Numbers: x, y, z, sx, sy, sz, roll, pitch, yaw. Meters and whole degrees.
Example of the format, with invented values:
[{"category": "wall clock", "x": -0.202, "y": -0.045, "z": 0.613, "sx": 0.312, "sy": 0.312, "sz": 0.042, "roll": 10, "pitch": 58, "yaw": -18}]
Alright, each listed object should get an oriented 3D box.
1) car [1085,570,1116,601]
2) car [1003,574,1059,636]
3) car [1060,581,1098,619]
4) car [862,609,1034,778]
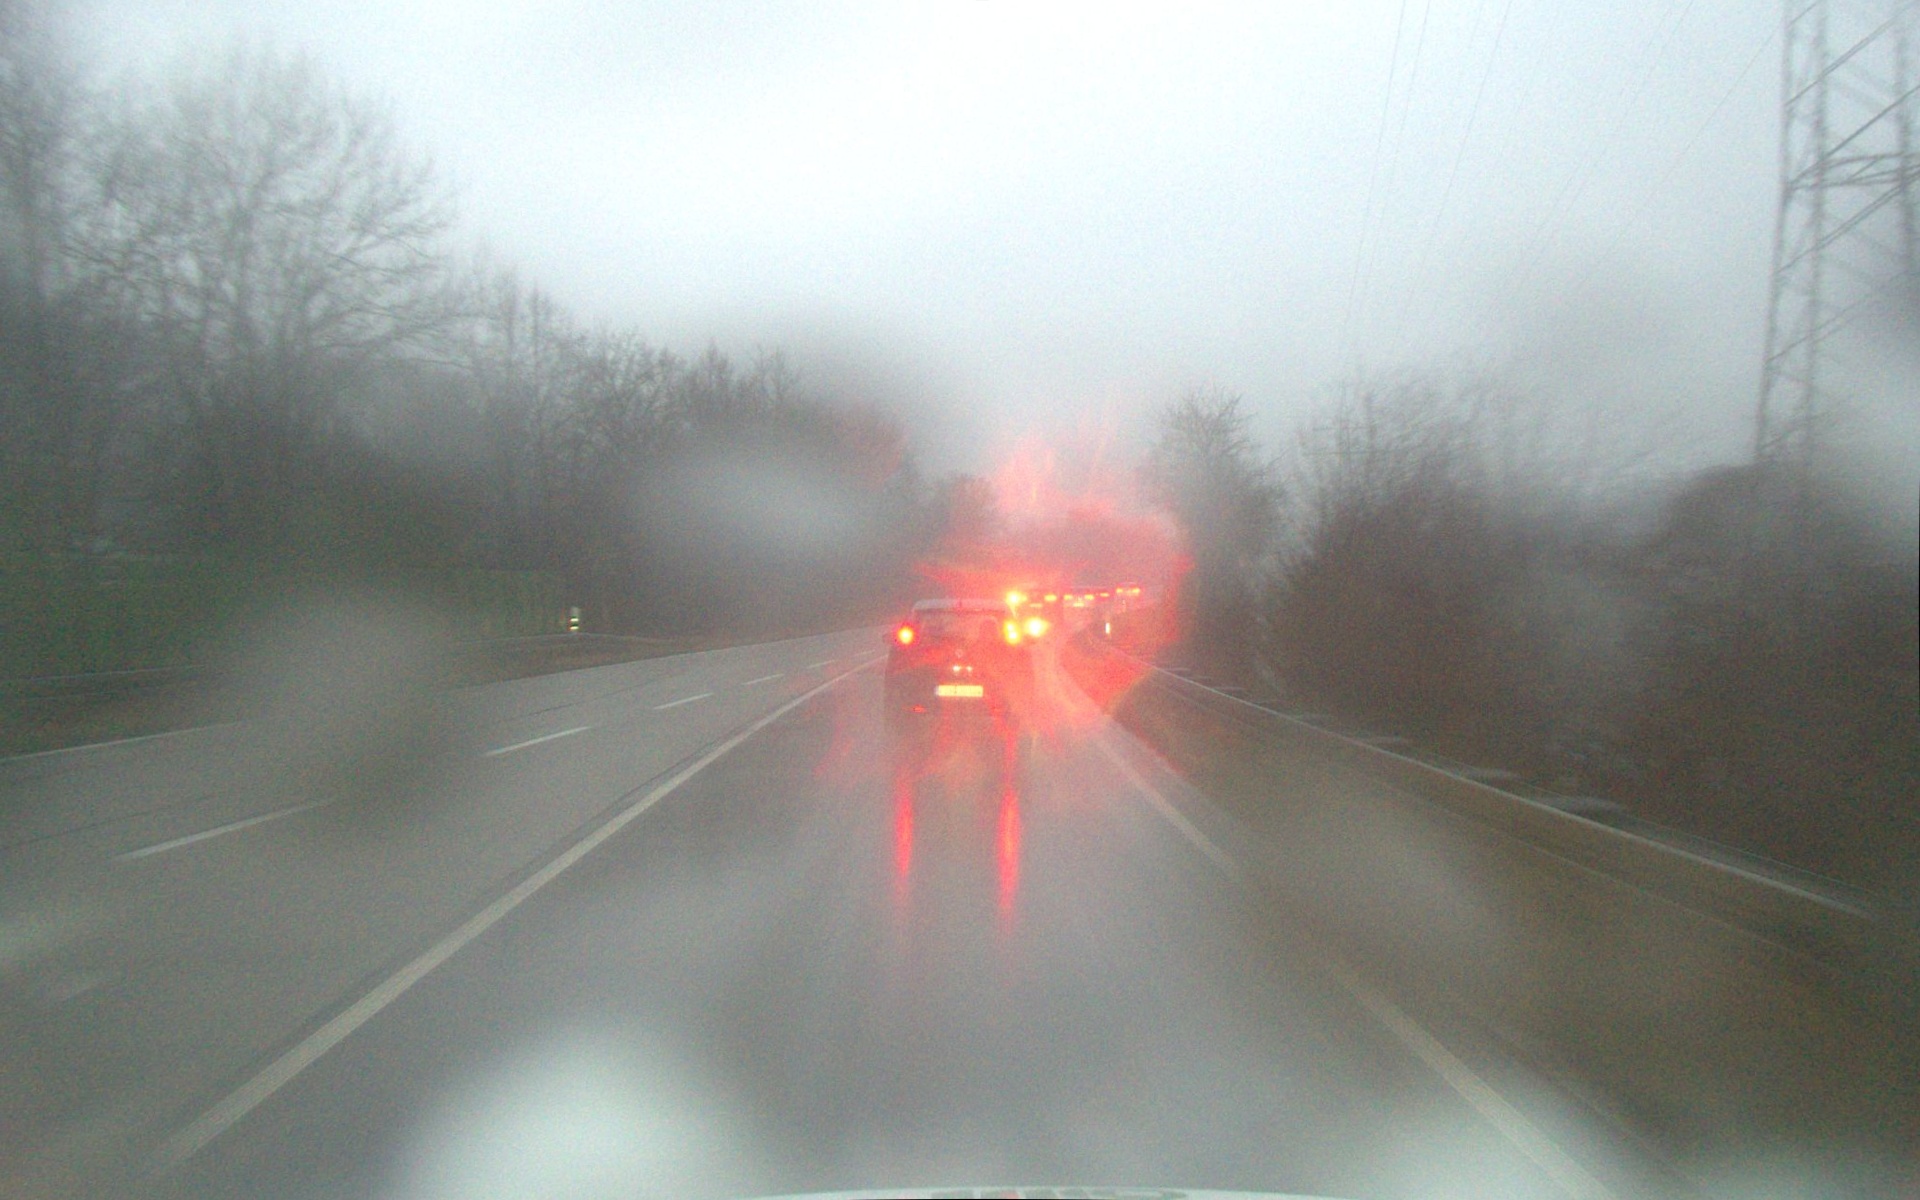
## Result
[{"category": "car", "x": 8.772, "y": -0.916, "z": 103.605, "sx": 1.905, "sy": 1.775, "sz": 4.003, "roll": 0, "pitch": 3, "yaw": 4}, {"category": "car", "x": 2.747, "y": 0.162, "z": 64.168, "sx": 1.906, "sy": 2.047, "sz": 4.002, "roll": -6, "pitch": 2, "yaw": 3}, {"category": "car", "x": 6.318, "y": -0.031, "z": 87.395, "sx": 1.905, "sy": 1.774, "sz": 4.004, "roll": 0, "pitch": 3, "yaw": 5}, {"category": "car", "x": -0.169, "y": 0.987, "z": 19.268, "sx": 1.695, "sy": 1.559, "sz": 4.041, "roll": -4, "pitch": 1, "yaw": -1}]
